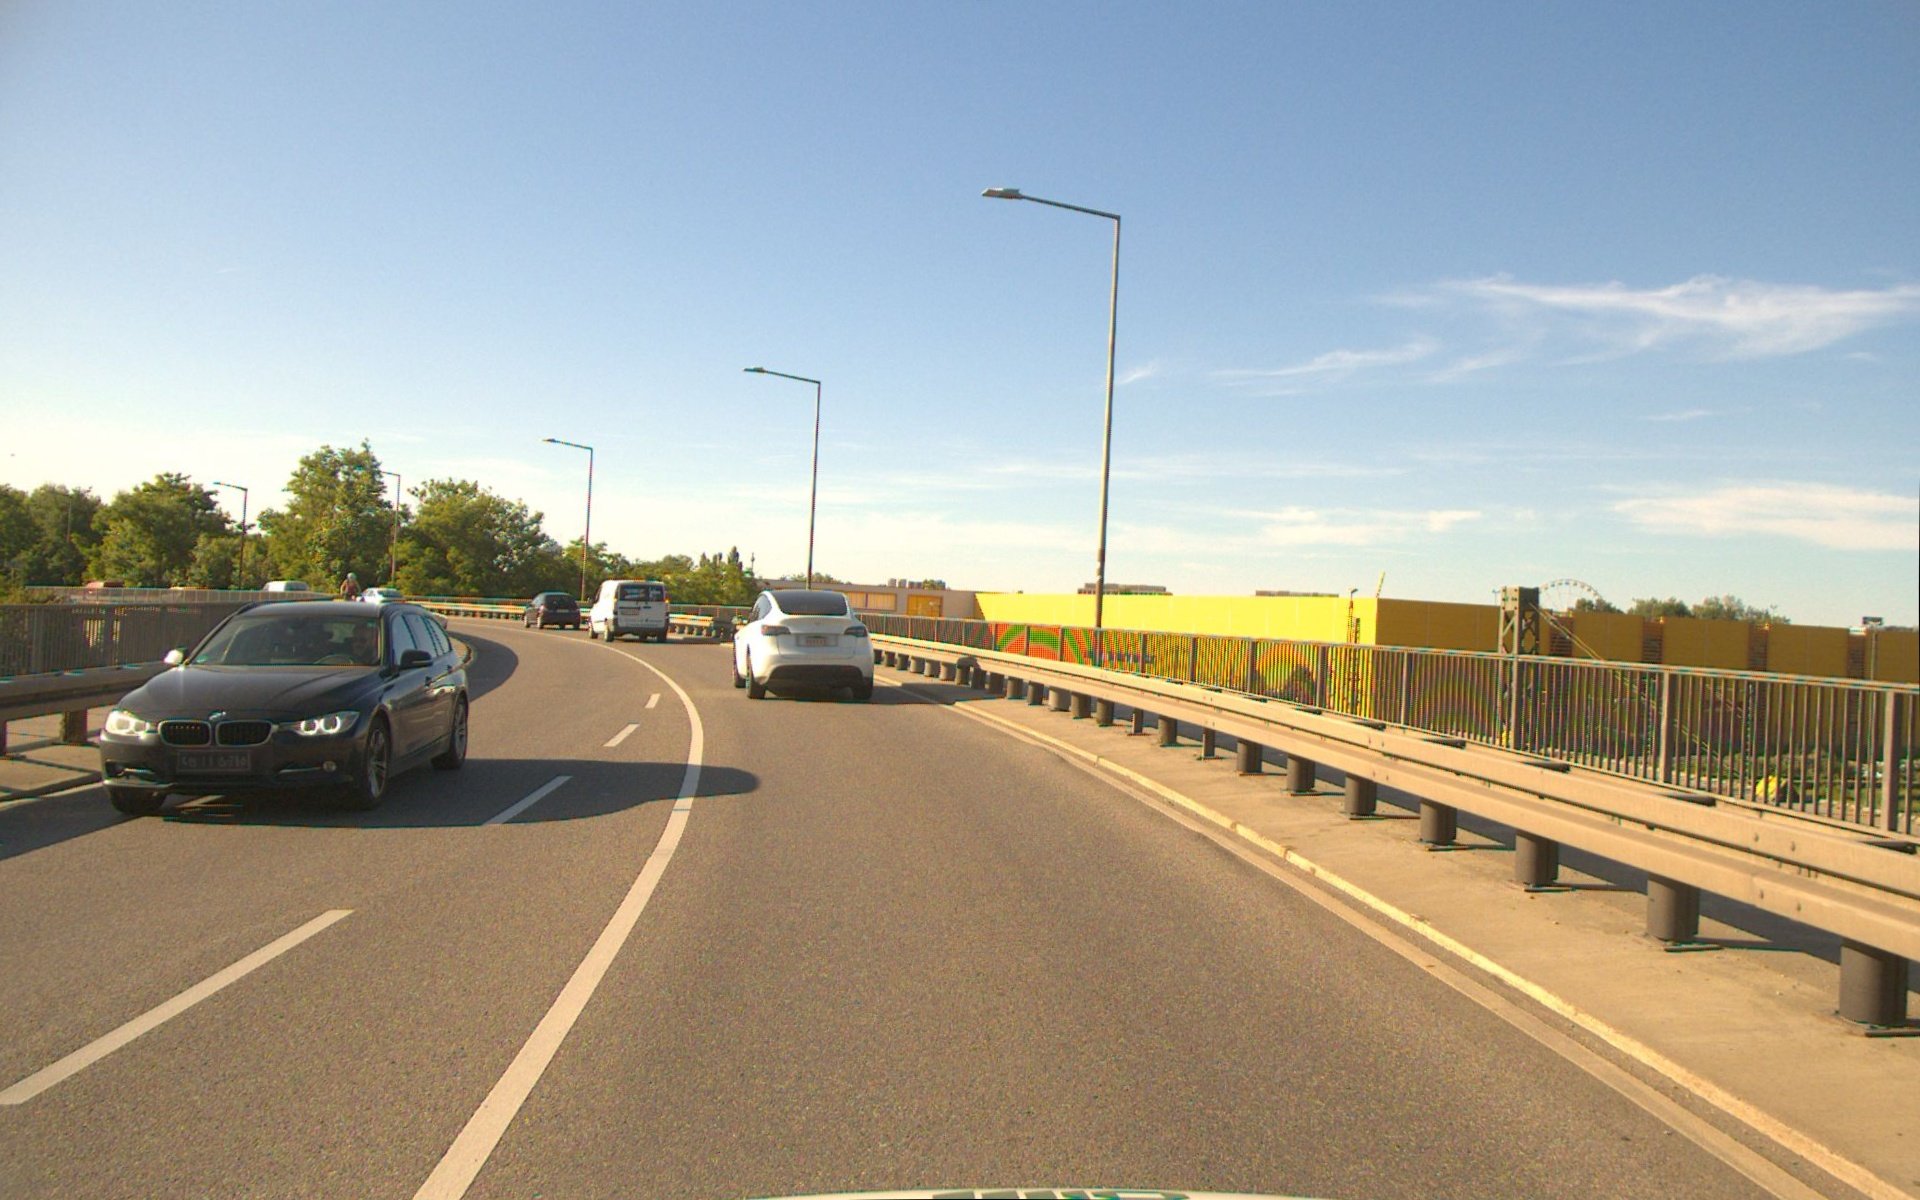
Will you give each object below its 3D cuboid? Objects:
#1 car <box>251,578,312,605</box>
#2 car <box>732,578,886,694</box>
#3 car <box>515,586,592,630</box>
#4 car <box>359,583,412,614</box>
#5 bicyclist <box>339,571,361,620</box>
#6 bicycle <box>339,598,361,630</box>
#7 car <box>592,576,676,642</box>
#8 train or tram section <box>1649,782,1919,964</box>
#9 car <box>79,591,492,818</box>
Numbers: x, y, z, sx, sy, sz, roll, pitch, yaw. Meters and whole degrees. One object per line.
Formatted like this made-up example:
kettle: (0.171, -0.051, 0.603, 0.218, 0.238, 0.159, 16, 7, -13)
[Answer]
car: (-41.806, -0.520, 101.873, 3.817, 1.583, 1.834, 1, 0, 37)
car: (-2.456, 0.533, 25.983, 1.950, 1.666, 4.050, 0, 0, -12)
car: (-16.270, 0.320, 66.065, 1.949, 1.666, 3.958, 0, 0, -31)
car: (-31.282, -0.077, 89.955, 1.842, 1.613, 3.869, 1, 0, -33)
bicyclist: (-20.500, -0.148, 55.612, 0.644, 1.617, 0.763, 1, 0, -22)
bicycle: (-20.541, 0.466, 55.691, 0.644, 1.083, 1.877, 1, 0, -22)
car: (-10.351, 0.270, 52.302, 1.975, 1.974, 4.442, 1, 0, -19)
train or tram section: (32.869, 9.752, 60.897, 16.599, 5.354, 3.313, 1, 0, -23)
car: (-4.986, 0.689, 12.918, 1.837, 1.464, 4.315, 1, 0, -6)
